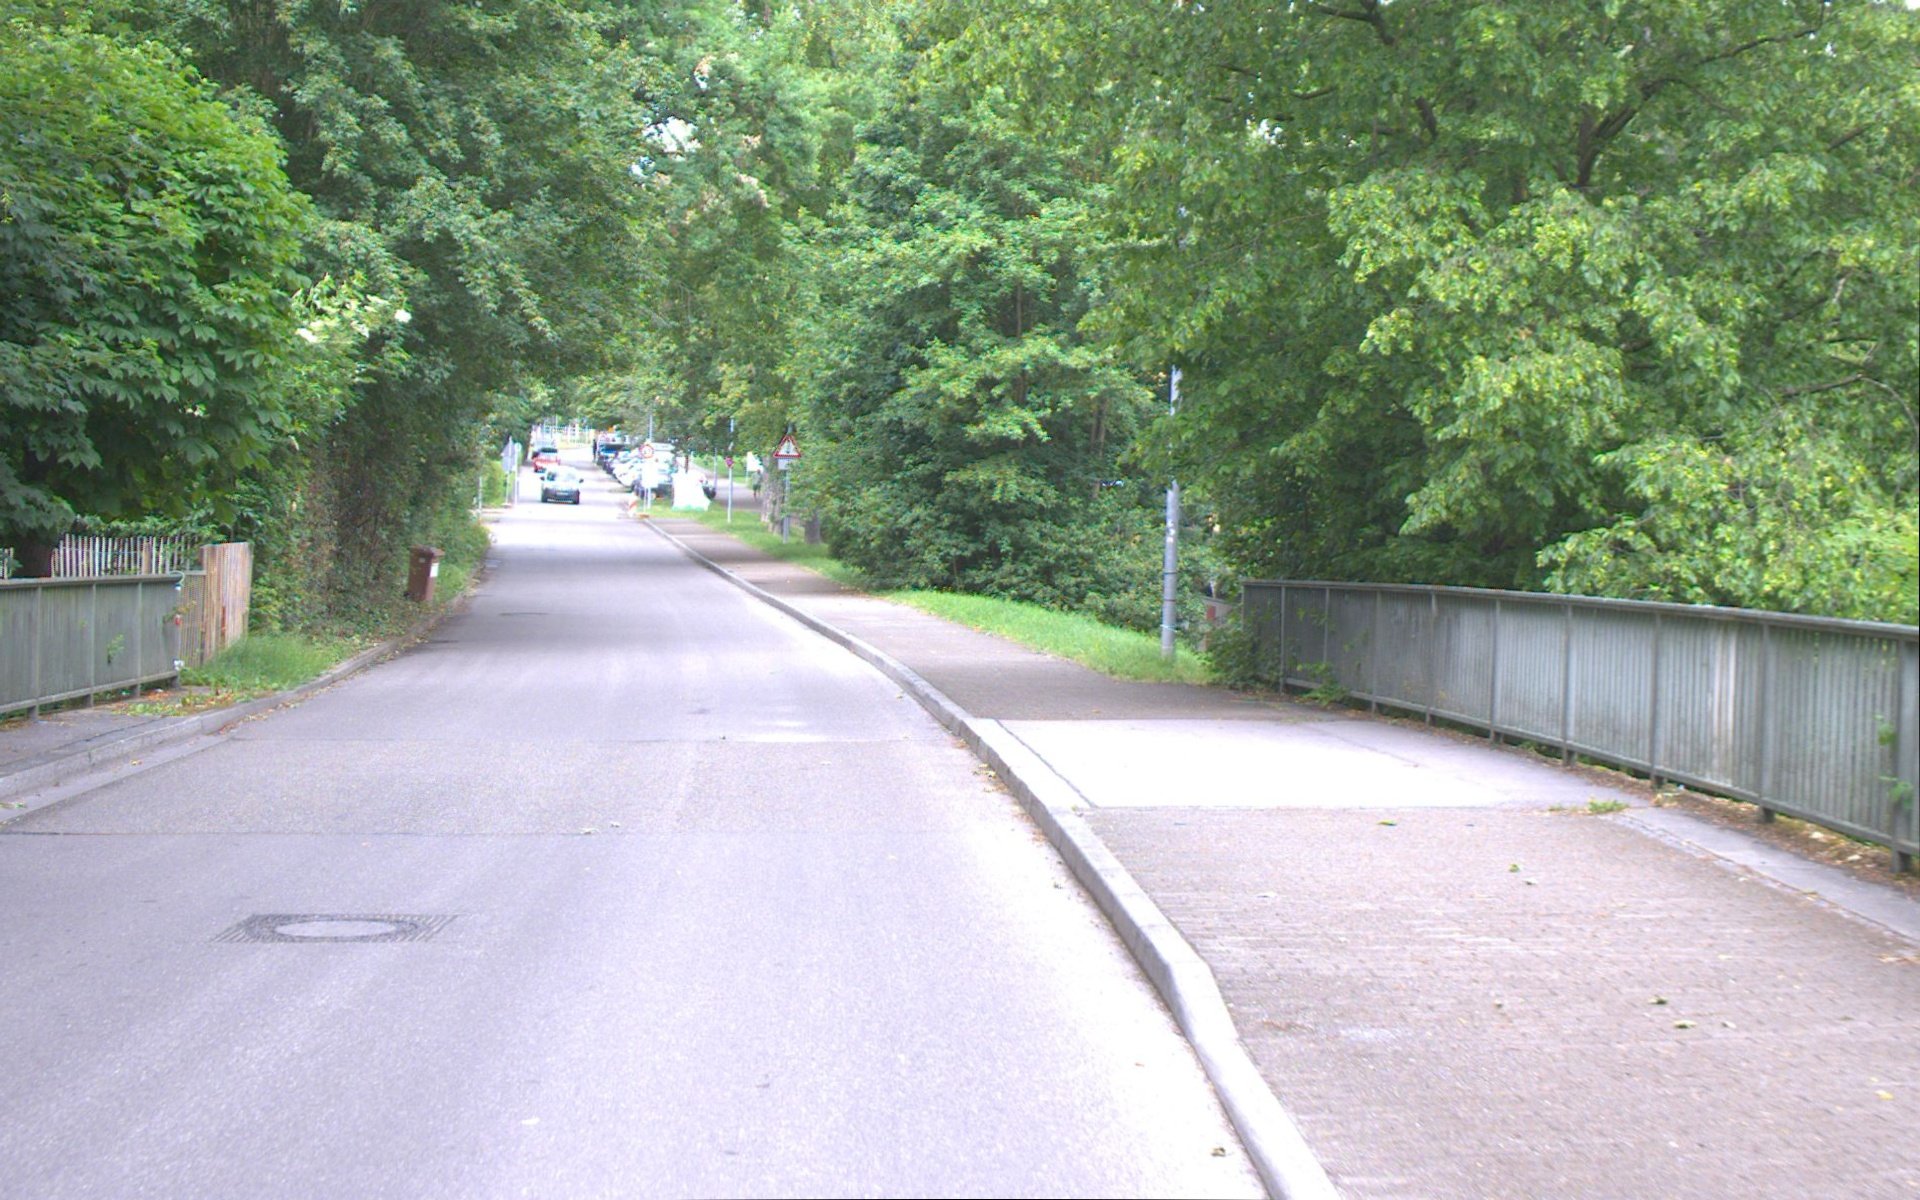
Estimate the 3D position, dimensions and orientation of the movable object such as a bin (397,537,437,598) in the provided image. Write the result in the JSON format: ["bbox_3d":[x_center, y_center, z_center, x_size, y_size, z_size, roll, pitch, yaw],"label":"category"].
[{"bbox_3d":[-8.743,-0.522,55.375,0.590,0.954,0.470,1,0,-5],"label":"movable object such as a bin"}]

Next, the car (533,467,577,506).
[{"bbox_3d":[-19.763,-5.513,167.993,1.993,1.766,4.001,1,0,-5],"label":"car"}]
